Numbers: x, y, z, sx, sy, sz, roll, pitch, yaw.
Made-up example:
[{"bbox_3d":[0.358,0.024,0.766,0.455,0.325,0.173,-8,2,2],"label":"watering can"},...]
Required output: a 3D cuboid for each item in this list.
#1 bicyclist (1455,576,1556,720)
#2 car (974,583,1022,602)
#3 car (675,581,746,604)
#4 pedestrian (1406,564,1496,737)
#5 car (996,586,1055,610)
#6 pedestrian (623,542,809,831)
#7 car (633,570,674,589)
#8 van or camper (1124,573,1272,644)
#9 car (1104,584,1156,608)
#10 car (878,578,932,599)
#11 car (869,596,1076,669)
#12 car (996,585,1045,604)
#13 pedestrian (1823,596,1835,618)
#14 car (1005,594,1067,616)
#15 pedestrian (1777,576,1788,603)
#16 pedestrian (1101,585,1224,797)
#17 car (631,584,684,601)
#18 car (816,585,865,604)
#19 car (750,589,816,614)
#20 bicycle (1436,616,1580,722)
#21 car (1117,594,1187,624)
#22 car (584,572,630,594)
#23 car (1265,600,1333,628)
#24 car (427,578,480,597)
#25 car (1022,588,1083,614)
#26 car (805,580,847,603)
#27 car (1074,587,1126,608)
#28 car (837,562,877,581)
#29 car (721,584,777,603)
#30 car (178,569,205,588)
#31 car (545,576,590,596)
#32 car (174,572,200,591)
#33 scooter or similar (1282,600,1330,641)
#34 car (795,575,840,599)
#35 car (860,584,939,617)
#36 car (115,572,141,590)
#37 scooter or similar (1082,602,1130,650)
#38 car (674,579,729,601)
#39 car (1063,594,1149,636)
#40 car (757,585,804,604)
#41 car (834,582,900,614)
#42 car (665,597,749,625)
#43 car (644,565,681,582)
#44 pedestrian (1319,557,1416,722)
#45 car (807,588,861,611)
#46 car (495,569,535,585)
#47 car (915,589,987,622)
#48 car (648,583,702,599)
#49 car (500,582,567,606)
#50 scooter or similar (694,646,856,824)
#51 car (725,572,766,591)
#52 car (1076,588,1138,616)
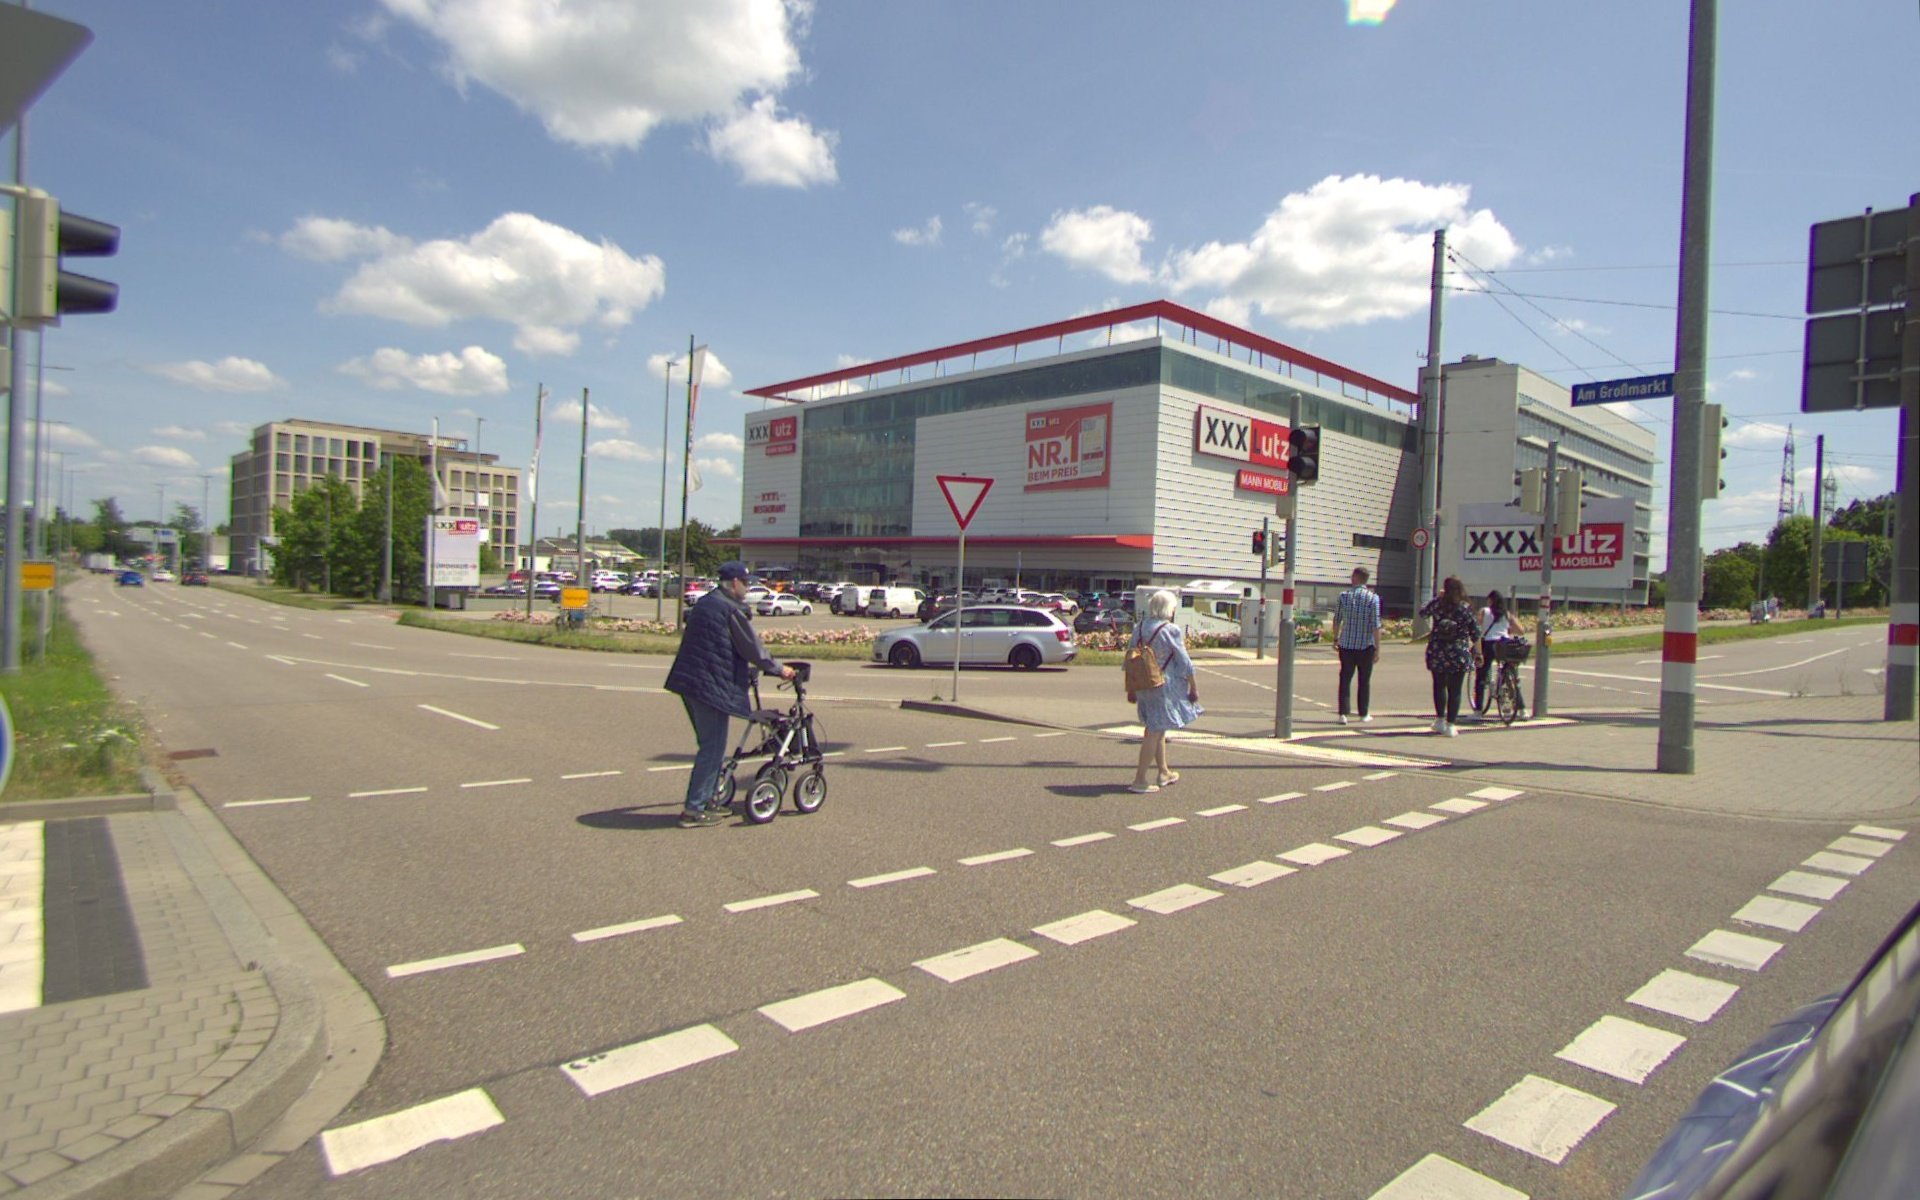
[{"bbox_3d":[6.787,0.571,12.637,0.801,1.722,0.799,1,0,2],"label":"bicyclist"},{"bbox_3d":[3.574,-0.685,94.532,4.445,1.714,1.995,0,1,-44],"label":"car"},{"bbox_3d":[-18.491,-0.558,75.208,4.783,1.723,1.852,0,1,-40],"label":"car"},{"bbox_3d":[5.333,0.518,10.975,0.800,1.782,0.788,0,0,32],"label":"pedestrian"},{"bbox_3d":[5.016,-0.148,77.201,4.442,1.756,1.996,0,1,-42],"label":"car"},{"bbox_3d":[-1.574,0.500,6.523,0.929,1.694,0.784,0,0,-37],"label":"pedestrian"},{"bbox_3d":[-34.456,-2.313,113.904,3.931,2.039,1.997,0,0,-41],"label":"car"},{"bbox_3d":[10.877,0.298,45.818,7.481,2.983,2.713,-1,1,-41],"label":"van or camper"},{"bbox_3d":[14.109,-0.343,83.859,4.442,1.946,1.996,0,1,-42],"label":"car"},{"bbox_3d":[-4.720,-1.022,87.133,4.442,1.756,1.996,0,1,-42],"label":"car"},{"bbox_3d":[0.337,0.678,22.424,4.386,1.415,1.799,1,1,9],"label":"car"},{"bbox_3d":[5.535,-0.508,92.542,4.445,1.714,1.995,0,1,-44],"label":"car"},{"bbox_3d":[68.037,0.569,79.244,0.623,1.676,0.598,1,0,-43],"label":"pedestrian"},{"bbox_3d":[5.287,0.364,70.145,4.182,1.430,1.858,0,1,-41],"label":"car"},{"bbox_3d":[56.854,-0.717,69.963,0.623,1.816,0.517,0,1,-44],"label":"pedestrian"},{"bbox_3d":[1.532,0.639,7.624,0.588,1.494,0.794,0,0,41],"label":"pedestrian"},{"bbox_3d":[-27.081,-0.682,90.792,4.181,1.430,1.858,0,1,-40],"label":"car"},{"bbox_3d":[-10.169,-0.472,86.476,3.933,1.546,1.691,0,1,-43],"label":"car"},{"bbox_3d":[-11.445,0.073,65.467,1.847,1.565,3.939,1,1,42],"label":"car"},{"bbox_3d":[6.774,0.810,12.637,0.816,1.177,1.877,1,0,2],"label":"bicycle"},{"bbox_3d":[11.960,0.527,62.939,4.426,1.738,1.996,-1,1,-42],"label":"car"},{"bbox_3d":[-34.093,-1.640,97.687,3.932,2.039,1.543,0,0,-42],"label":"car"},{"bbox_3d":[20.501,0.838,61.125,4.443,1.583,1.996,0,1,-43],"label":"car"},{"bbox_3d":[-45.300,-1.126,90.505,3.928,1.705,1.998,0,1,-39],"label":"car"},{"bbox_3d":[6.906,0.056,75.080,4.441,1.918,1.997,0,1,-41],"label":"car"},{"bbox_3d":[-13.500,-0.870,102.033,3.930,2.285,1.692,0,0,-41],"label":"car"},{"bbox_3d":[11.900,-0.246,85.804,4.442,1.714,1.996,0,1,-42],"label":"car"},{"bbox_3d":[-11.407,-3.137,112.215,4.212,2.039,1.848,-1,1,-41],"label":"car"},{"bbox_3d":[-16.698,-0.547,80.198,3.928,1.457,1.852,0,1,-40],"label":"car"},{"bbox_3d":[-82.526,-2.327,108.671,1.966,2.039,3.992,0,1,-42],"label":"car"},{"bbox_3d":[-41.203,-1.469,106.280,3.931,2.039,1.996,0,1,-42],"label":"car"},{"bbox_3d":[-86.011,-2.092,112.653,1.966,2.039,3.992,0,1,-42],"label":"car"},{"bbox_3d":[10.315,0.610,30.144,1.252,1.140,0.481,-3,1,-15],"label":"scooter or similar"},{"bbox_3d":[-12.441,-1.160,88.589,3.542,2.039,1.722,0,1,-42],"label":"car"},{"bbox_3d":[-3.865,-0.021,65.067,4.879,2.039,1.996,-1,1,-42],"label":"car"},{"bbox_3d":[-77.494,-1.762,94.222,1.731,1.632,3.542,0,1,-42],"label":"car"},{"bbox_3d":[4.066,0.716,28.202,1.252,1.307,0.481,0,0,-25],"label":"scooter or similar"},{"bbox_3d":[-21.744,-0.826,85.280,4.097,1.723,1.852,0,1,-41],"label":"car"},{"bbox_3d":[7.542,0.724,52.071,4.374,2.039,1.997,0,1,-40],"label":"car"},{"bbox_3d":[-16.680,-0.532,94.155,3.931,1.671,1.997,0,1,-41],"label":"car"},{"bbox_3d":[-6.131,-0.132,66.611,3.931,2.039,1.996,-1,1,-42],"label":"car"},{"bbox_3d":[-13.207,0.531,52.957,3.876,1.393,1.851,0,1,-43],"label":"car"},{"bbox_3d":[-36.883,-3.322,125.332,3.933,2.039,1.995,0,1,-44],"label":"car"},{"bbox_3d":[4.888,0.443,12.153,0.783,1.888,0.805,0,0,-40],"label":"pedestrian"},{"bbox_3d":[-8.533,-0.031,68.769,1.689,1.479,3.345,1,1,44],"label":"car"},{"bbox_3d":[-51.545,-2.634,117.170,3.932,1.749,1.734,-1,1,-43],"label":"car"},{"bbox_3d":[-0.514,0.310,61.184,4.409,1.936,1.589,0,1,-41],"label":"car"},{"bbox_3d":[-25.053,-0.785,89.056,4.181,1.430,1.858,0,1,-40],"label":"car"},{"bbox_3d":[-30.761,-0.439,73.083,1.994,1.705,4.057,1,1,45],"label":"car"},{"bbox_3d":[-1.247,0.860,6.810,0.847,1.044,0.691,0,1,-39],"label":"scooter or similar"},{"bbox_3d":[-23.315,-1.959,109.904,3.931,2.039,1.997,0,1,-41],"label":"car"},{"bbox_3d":[10.466,0.149,71.997,4.442,1.918,1.996,0,1,-42],"label":"car"}]
